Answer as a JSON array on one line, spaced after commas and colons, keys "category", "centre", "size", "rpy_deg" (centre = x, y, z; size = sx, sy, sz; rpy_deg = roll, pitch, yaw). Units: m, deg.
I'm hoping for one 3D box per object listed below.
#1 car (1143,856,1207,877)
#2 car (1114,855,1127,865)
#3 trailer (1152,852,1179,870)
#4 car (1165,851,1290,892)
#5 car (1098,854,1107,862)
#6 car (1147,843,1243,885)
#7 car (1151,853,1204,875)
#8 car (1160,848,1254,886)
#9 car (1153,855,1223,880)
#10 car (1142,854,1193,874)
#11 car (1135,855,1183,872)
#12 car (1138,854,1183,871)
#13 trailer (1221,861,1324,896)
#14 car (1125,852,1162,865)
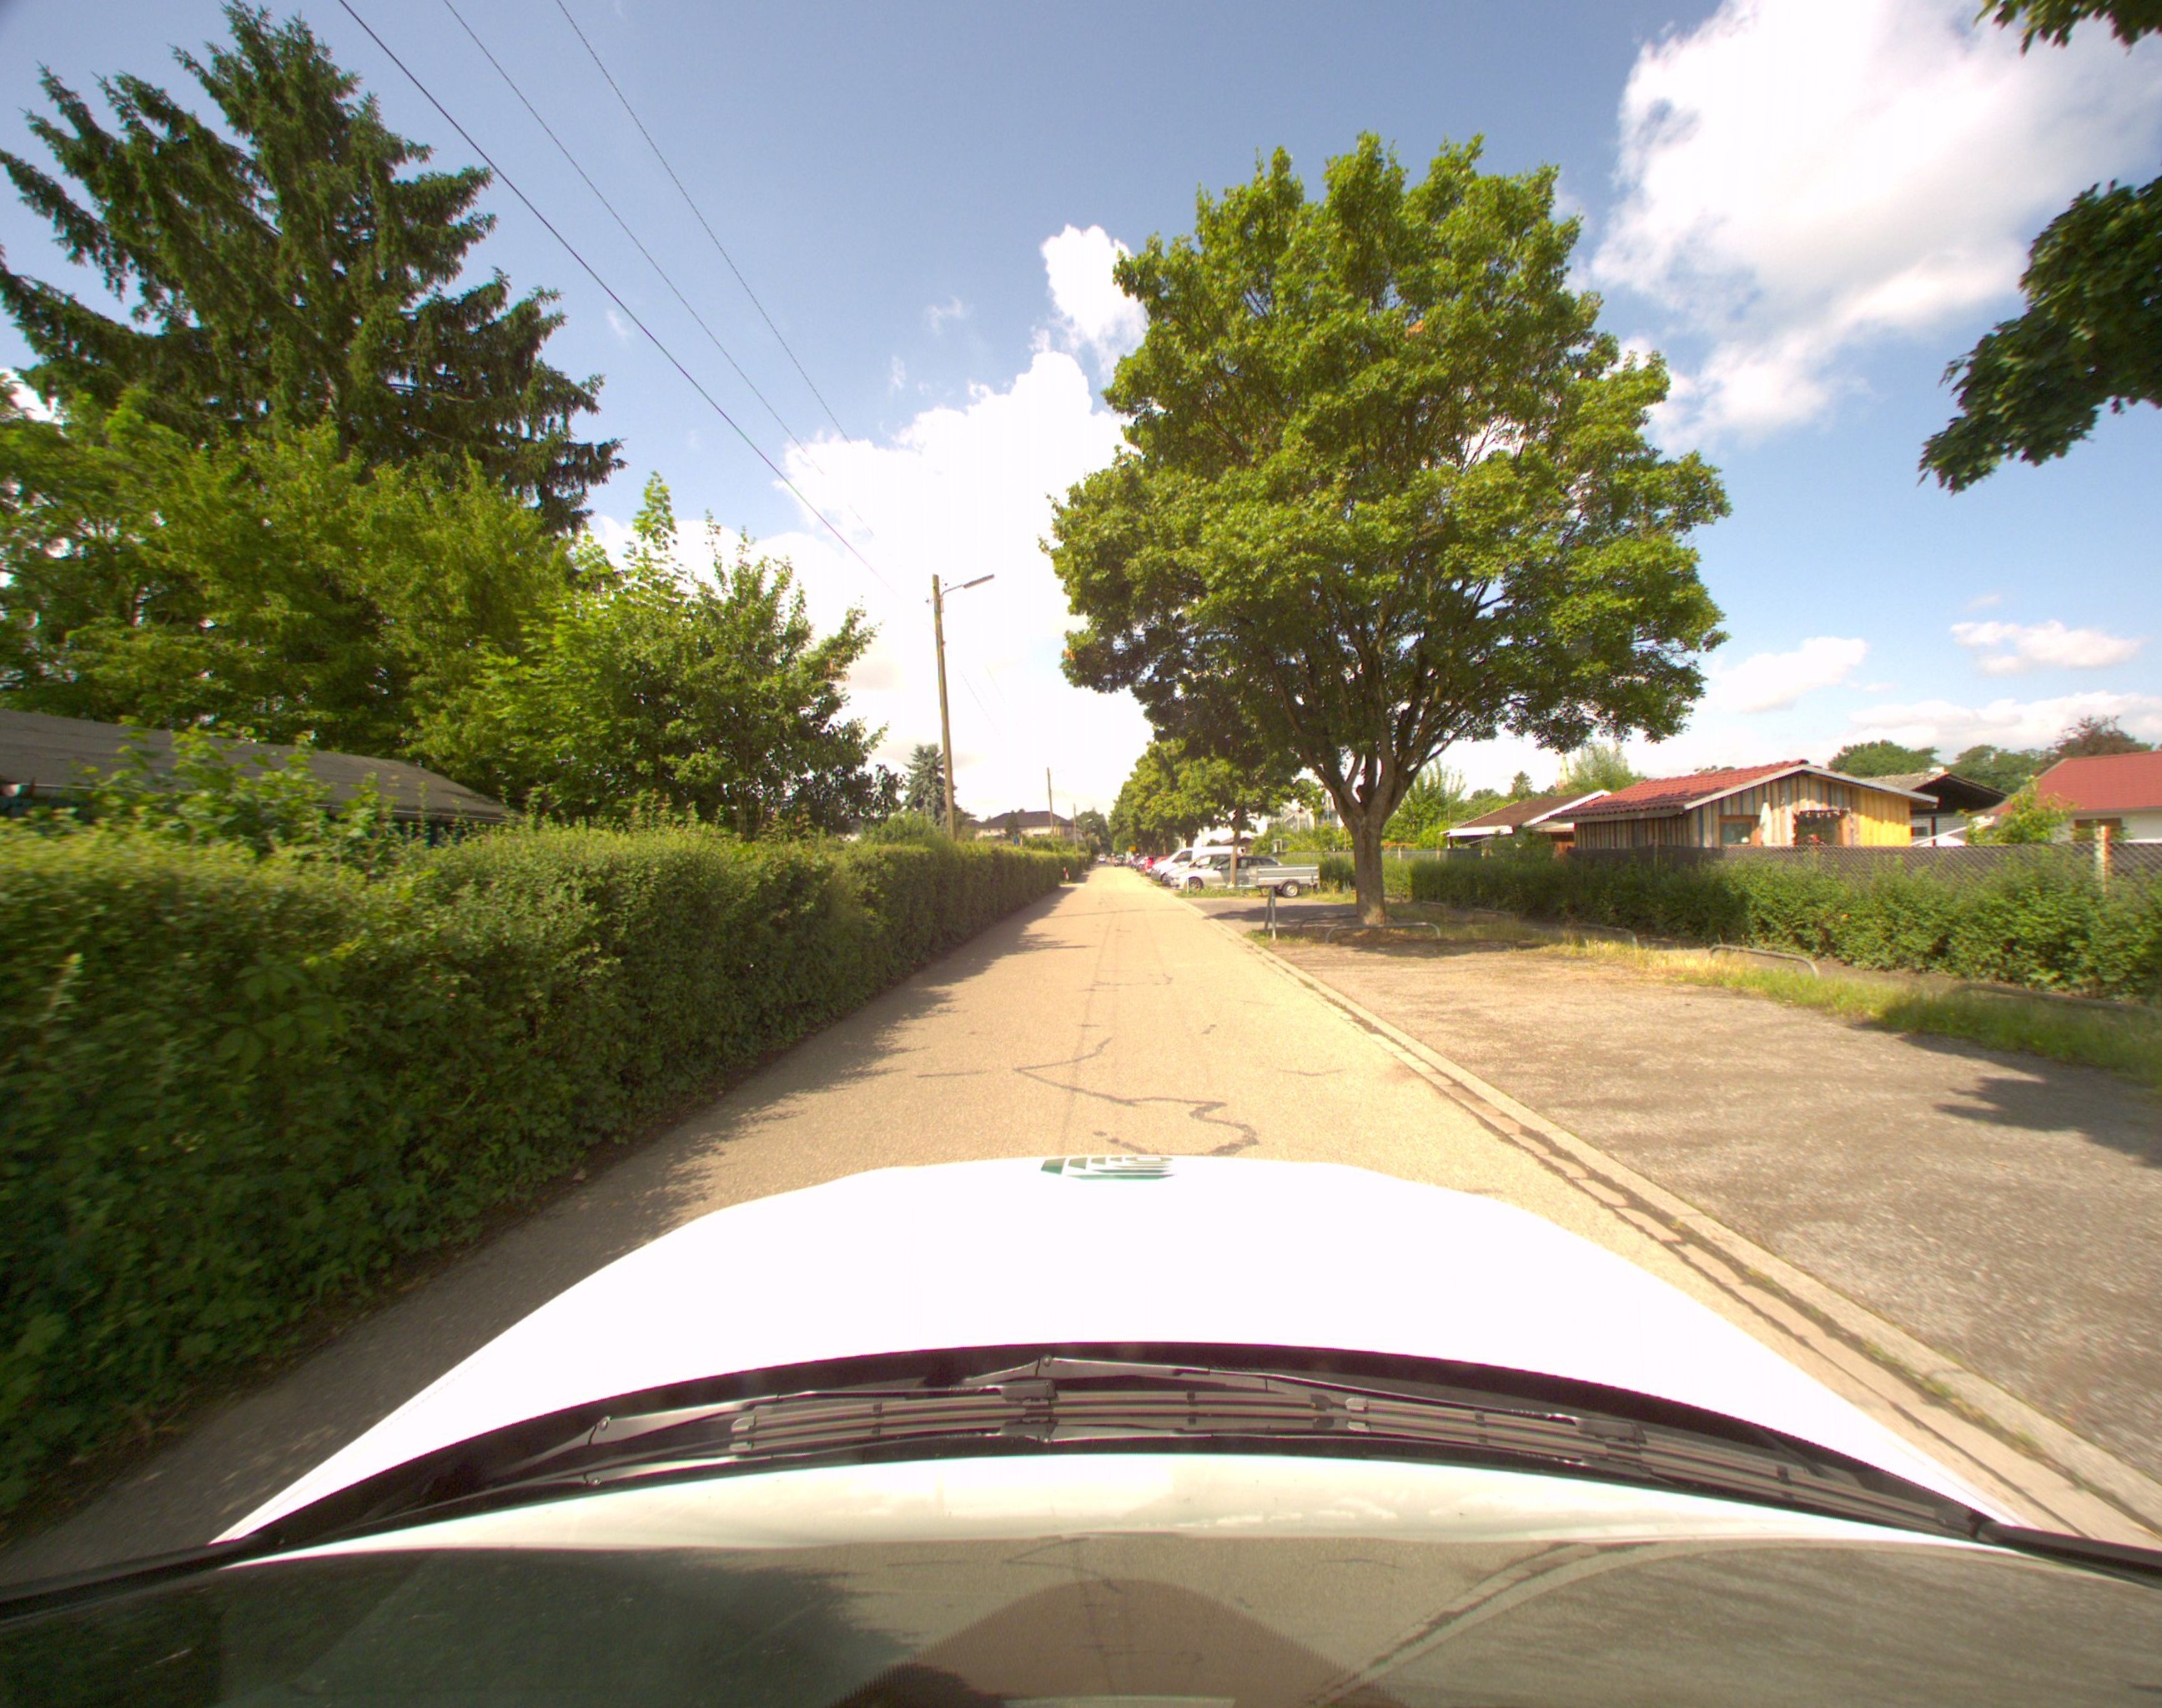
[{"category": "car", "centre": [6.563, 0.860, 56.889], "size": [4.227, 1.428, 1.907], "rpy_deg": [0, -1, -2]}, {"category": "car", "centre": [6.188, 0.933, 126.515], "size": [1.654, 1.506, 4.007], "rpy_deg": [0, -1, 7]}, {"category": "trailer", "centre": [8.187, 0.653, 78.876], "size": [2.443, 1.720, 1.517], "rpy_deg": [0, 0, -2]}, {"category": "car", "centre": [5.755, 0.680, 32.319], "size": [4.565, 1.466, 1.999], "rpy_deg": [-1, 0, -2]}, {"category": "car", "centre": [5.110, 0.972, 194.956], "size": [1.894, 1.814, 4.005], "rpy_deg": [0, -1, 4]}, {"category": "car", "centre": [5.840, 0.504, 42.026], "size": [4.619, 1.886, 2.111], "rpy_deg": [-2, 0, 0]}, {"category": "car", "centre": [7.042, 0.743, 59.605], "size": [3.750, 1.574, 1.870], "rpy_deg": [0, -1, 1]}, {"category": "car", "centre": [6.021, 0.611, 39.275], "size": [4.227, 1.592, 2.001], "rpy_deg": [-2, 0, 2]}, {"category": "car", "centre": [6.493, 0.832, 49.808], "size": [4.166, 1.504, 1.879], "rpy_deg": [0, -1, 2]}, {"category": "car", "centre": [6.833, 0.803, 64.414], "size": [3.968, 1.519, 1.857], "rpy_deg": [0, -1, 5]}, {"category": "car", "centre": [6.803, 0.802, 71.101], "size": [4.053, 1.455, 1.869], "rpy_deg": [0, -1, -1]}, {"category": "car", "centre": [7.283, 0.758, 74.699], "size": [4.046, 1.511, 1.960], "rpy_deg": [0, -1, 4]}, {"category": "trailer", "centre": [6.409, 0.804, 27.566], "size": [3.088, 1.142, 2.001], "rpy_deg": [0, -1, 2]}, {"category": "car", "centre": [7.755, 0.611, 101.618], "size": [4.533, 1.578, 1.808], "rpy_deg": [0, -1, 0]}]
